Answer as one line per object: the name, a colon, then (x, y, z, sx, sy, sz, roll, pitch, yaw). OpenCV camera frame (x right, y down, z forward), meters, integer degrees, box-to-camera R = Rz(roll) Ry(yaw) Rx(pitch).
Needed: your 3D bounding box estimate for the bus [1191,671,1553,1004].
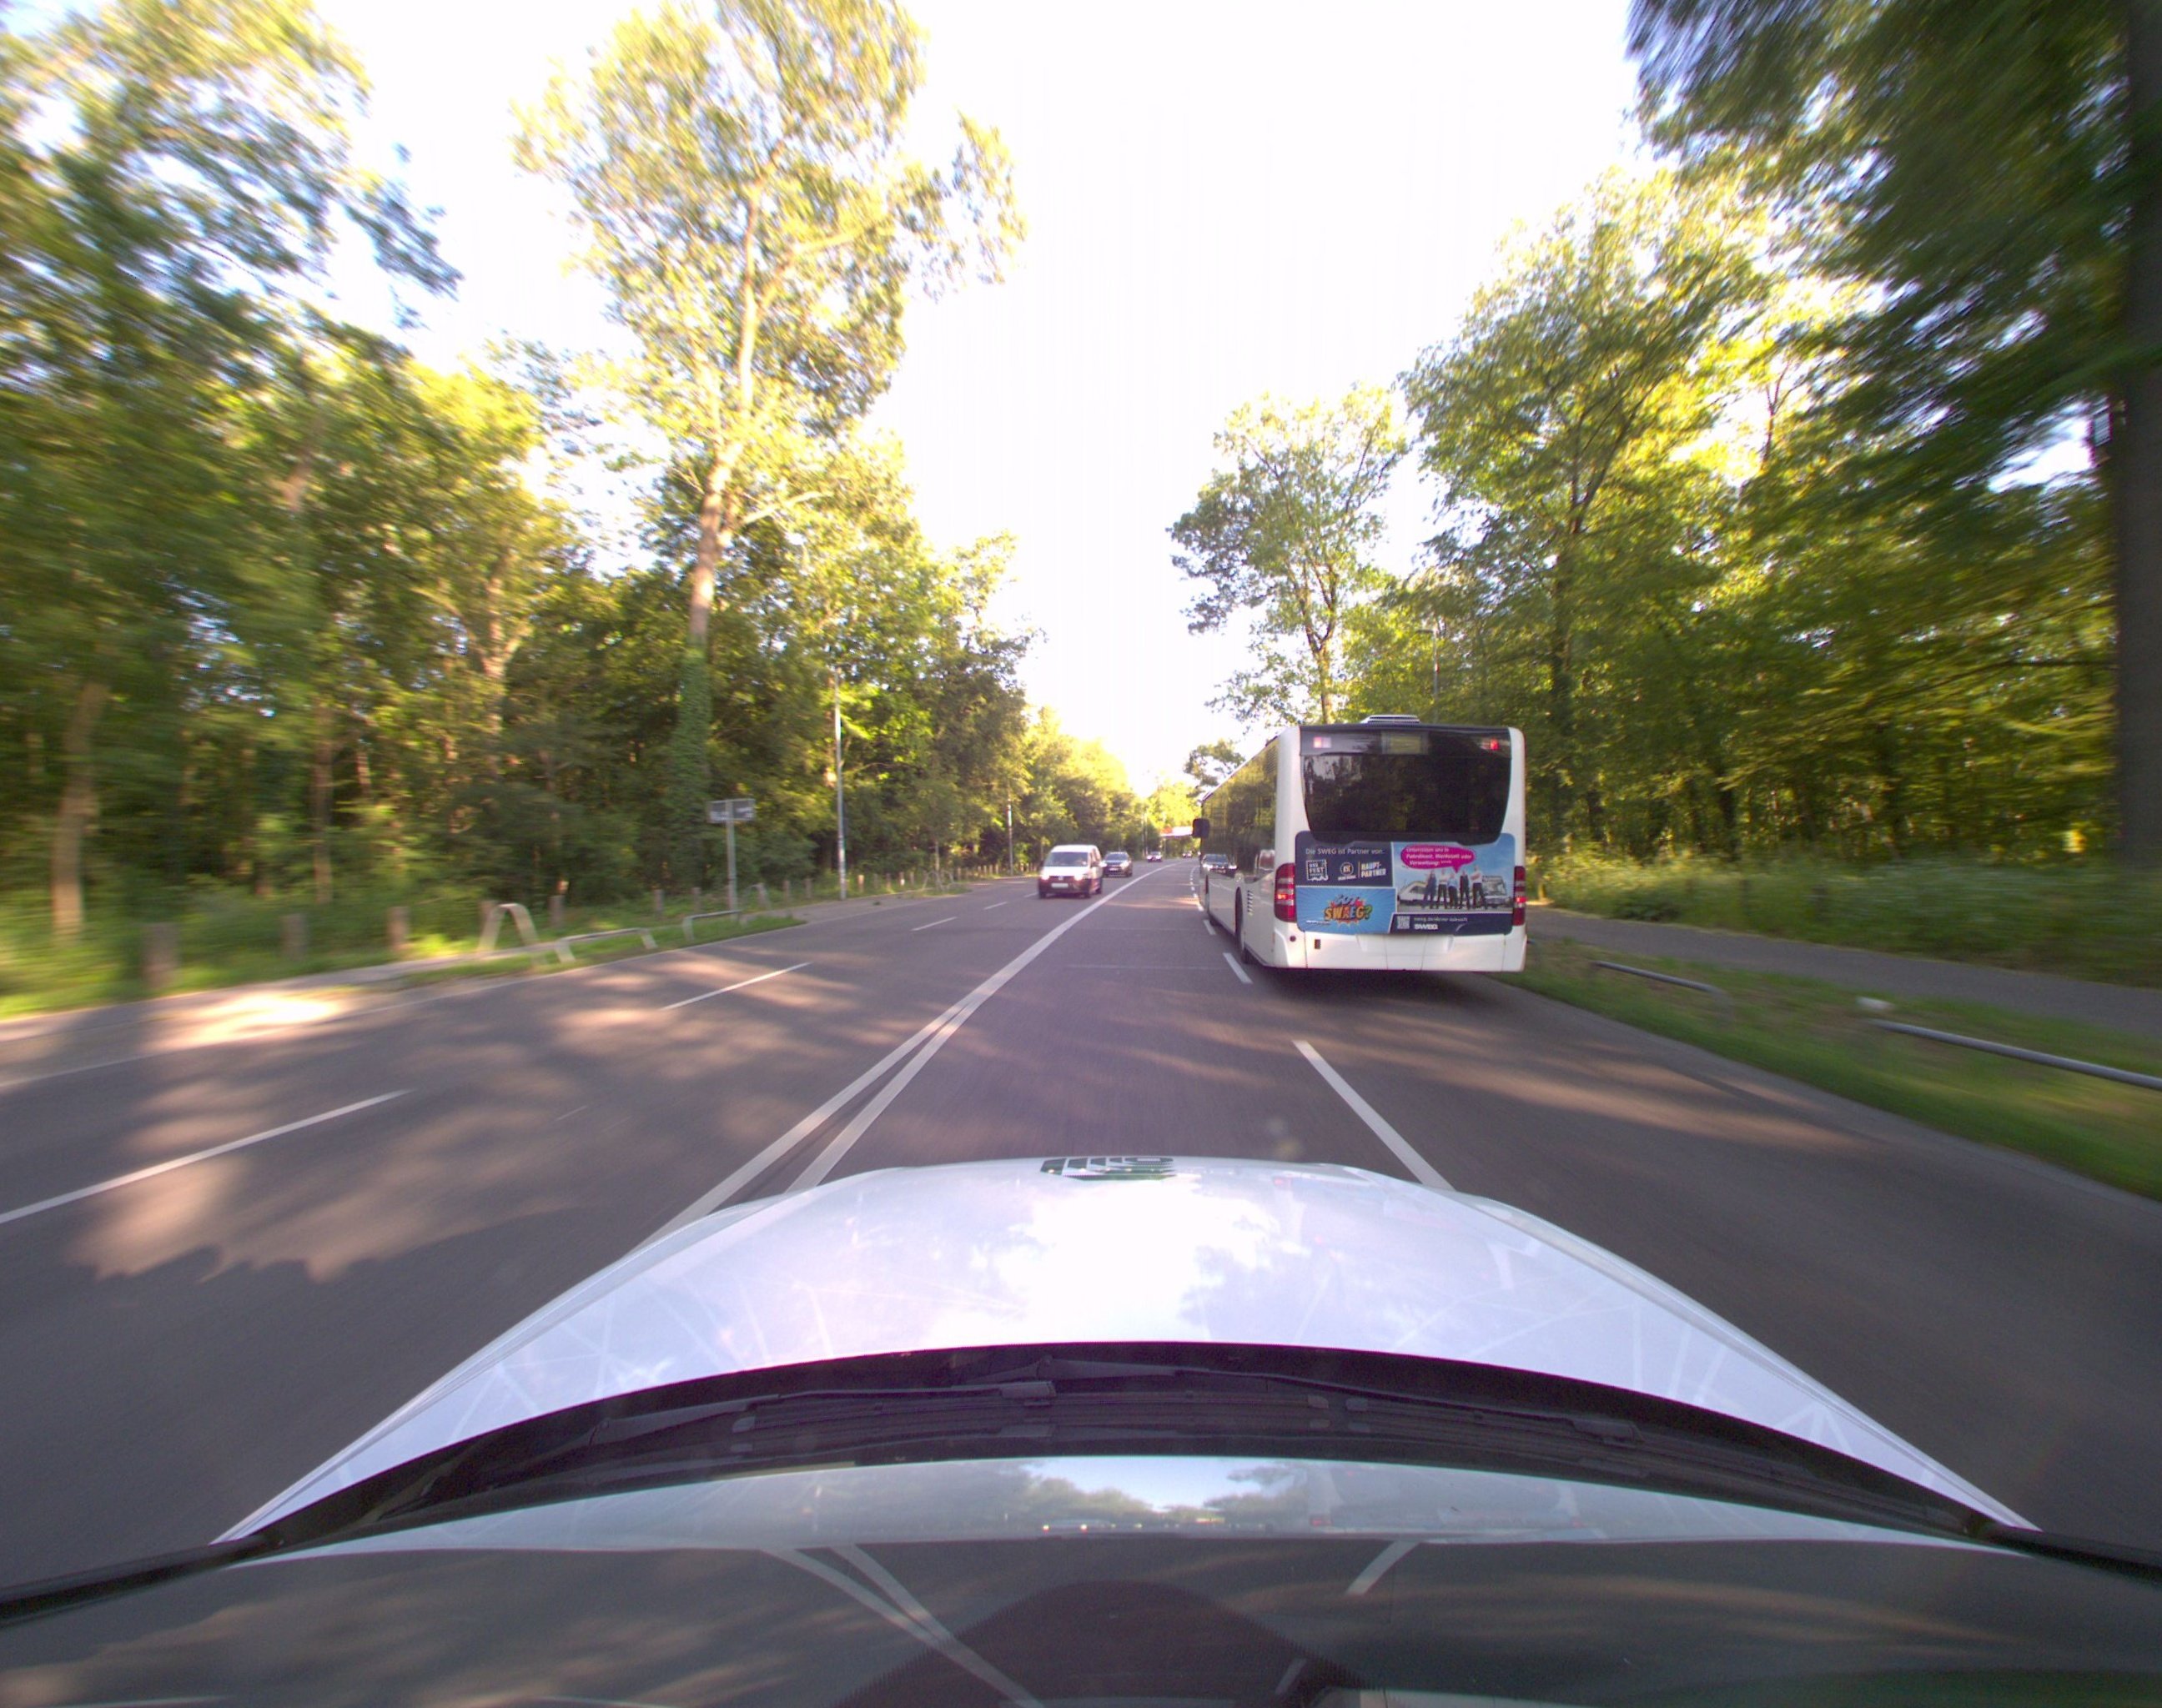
bus: (3.649, -0.127, 14.078, 2.692, 3.222, 12.292, 0, 0, 4)

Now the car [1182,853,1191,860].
car: (22.729, 0.506, 174.623, 1.789, 1.599, 4.010, -1, 0, 9)

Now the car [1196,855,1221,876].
car: (9.519, 0.839, 60.913, 1.718, 1.441, 4.098, -1, 0, 7)

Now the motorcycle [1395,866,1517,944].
motorcycle: (6.455, 0.868, 14.087, 1.727, 1.253, 0.771, -2, -1, 2)

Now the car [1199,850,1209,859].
car: (26.766, 0.169, 177.044, 2.194, 1.961, 4.925, -1, 0, 9)

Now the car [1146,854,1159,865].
car: (10.417, 0.809, 117.852, 1.814, 1.462, 4.932, -1, 0, 5)

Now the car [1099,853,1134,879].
car: (2.245, 0.718, 50.708, 1.795, 1.545, 4.098, -1, 0, 7)

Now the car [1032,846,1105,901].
car: (-0.347, 0.638, 28.849, 1.896, 1.756, 4.809, -1, 0, 7)
